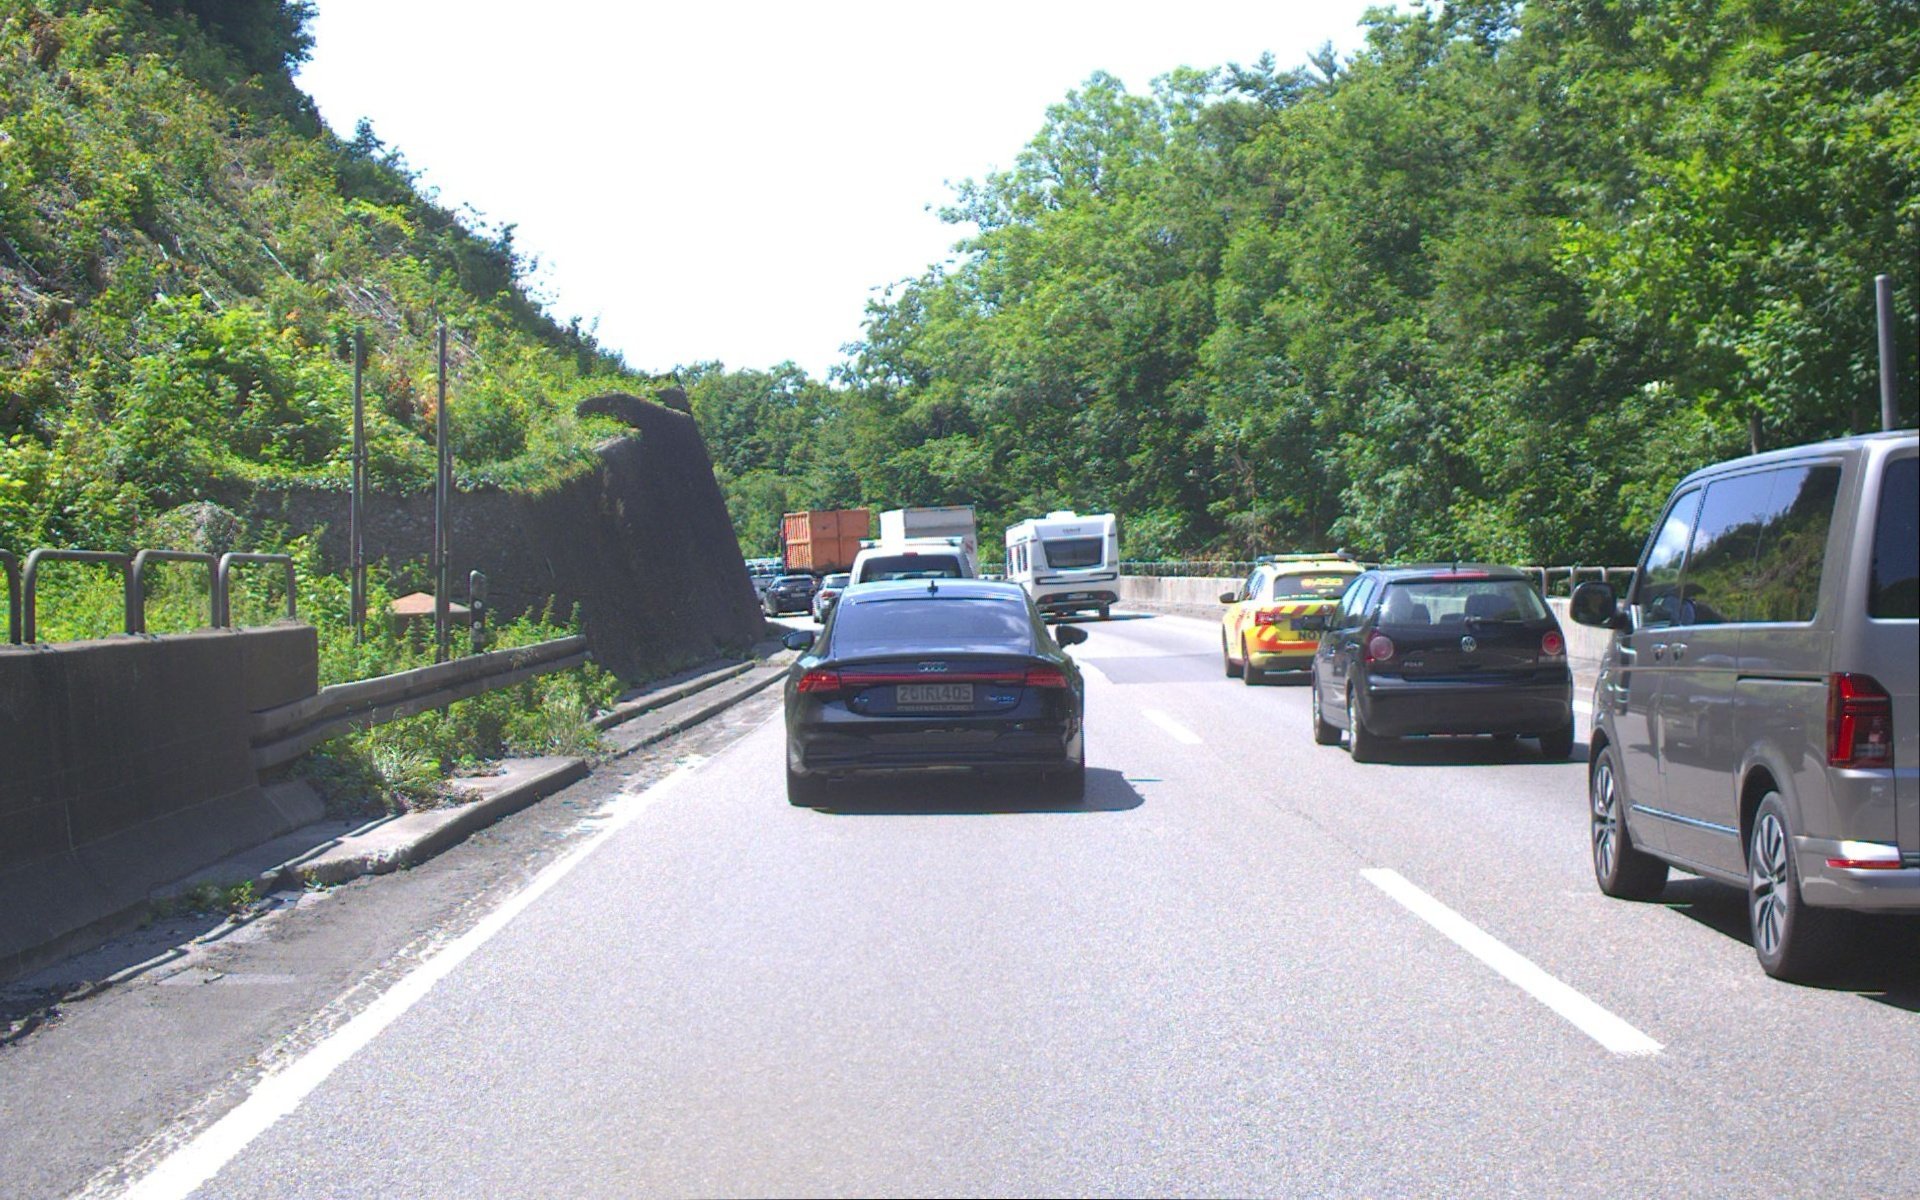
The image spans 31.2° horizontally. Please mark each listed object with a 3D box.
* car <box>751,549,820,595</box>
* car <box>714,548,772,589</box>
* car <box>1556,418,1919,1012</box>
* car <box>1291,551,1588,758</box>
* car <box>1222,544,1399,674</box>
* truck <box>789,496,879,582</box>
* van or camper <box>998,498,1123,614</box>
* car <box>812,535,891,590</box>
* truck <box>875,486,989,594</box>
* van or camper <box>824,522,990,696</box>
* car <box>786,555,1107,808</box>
[{"bbox_3d":[-6.077,-0.998,119.324,1.750,1.565,3.772,0,1,-13],"label":"car"},{"bbox_3d":[-8.442,-1.226,133.513,1.750,1.565,3.772,0,1,-11],"label":"car"},{"bbox_3d":[3.749,0.340,13.493,1.940,1.924,4.695,0,1,-1],"label":"car"},{"bbox_3d":[3.628,0.361,26.619,1.685,1.453,4.000,-1,1,0],"label":"car"},{"bbox_3d":[4.225,0.079,41.976,1.808,1.473,4.081,1,1,1],"label":"car"},{"bbox_3d":[-5.384,-2.582,145.308,3.163,3.456,8.223,1,1,-6],"label":"truck"},{"bbox_3d":[2.497,-1.128,87.423,2.603,2.845,6.336,0,1,-4],"label":"van or camper"},{"bbox_3d":[-3.324,-1.144,104.642,1.993,1.612,4.001,1,1,-8],"label":"car"},{"bbox_3d":[-1.064,-2.145,122.950,2.924,3.674,7.726,2,1,-8],"label":"truck"},{"bbox_3d":[-0.593,0.071,41.113,1.853,1.935,4.165,1,1,0],"label":"van or camper"},{"bbox_3d":[-0.179,0.460,22.761,1.904,1.484,4.380,-1,1,-3],"label":"car"}]
